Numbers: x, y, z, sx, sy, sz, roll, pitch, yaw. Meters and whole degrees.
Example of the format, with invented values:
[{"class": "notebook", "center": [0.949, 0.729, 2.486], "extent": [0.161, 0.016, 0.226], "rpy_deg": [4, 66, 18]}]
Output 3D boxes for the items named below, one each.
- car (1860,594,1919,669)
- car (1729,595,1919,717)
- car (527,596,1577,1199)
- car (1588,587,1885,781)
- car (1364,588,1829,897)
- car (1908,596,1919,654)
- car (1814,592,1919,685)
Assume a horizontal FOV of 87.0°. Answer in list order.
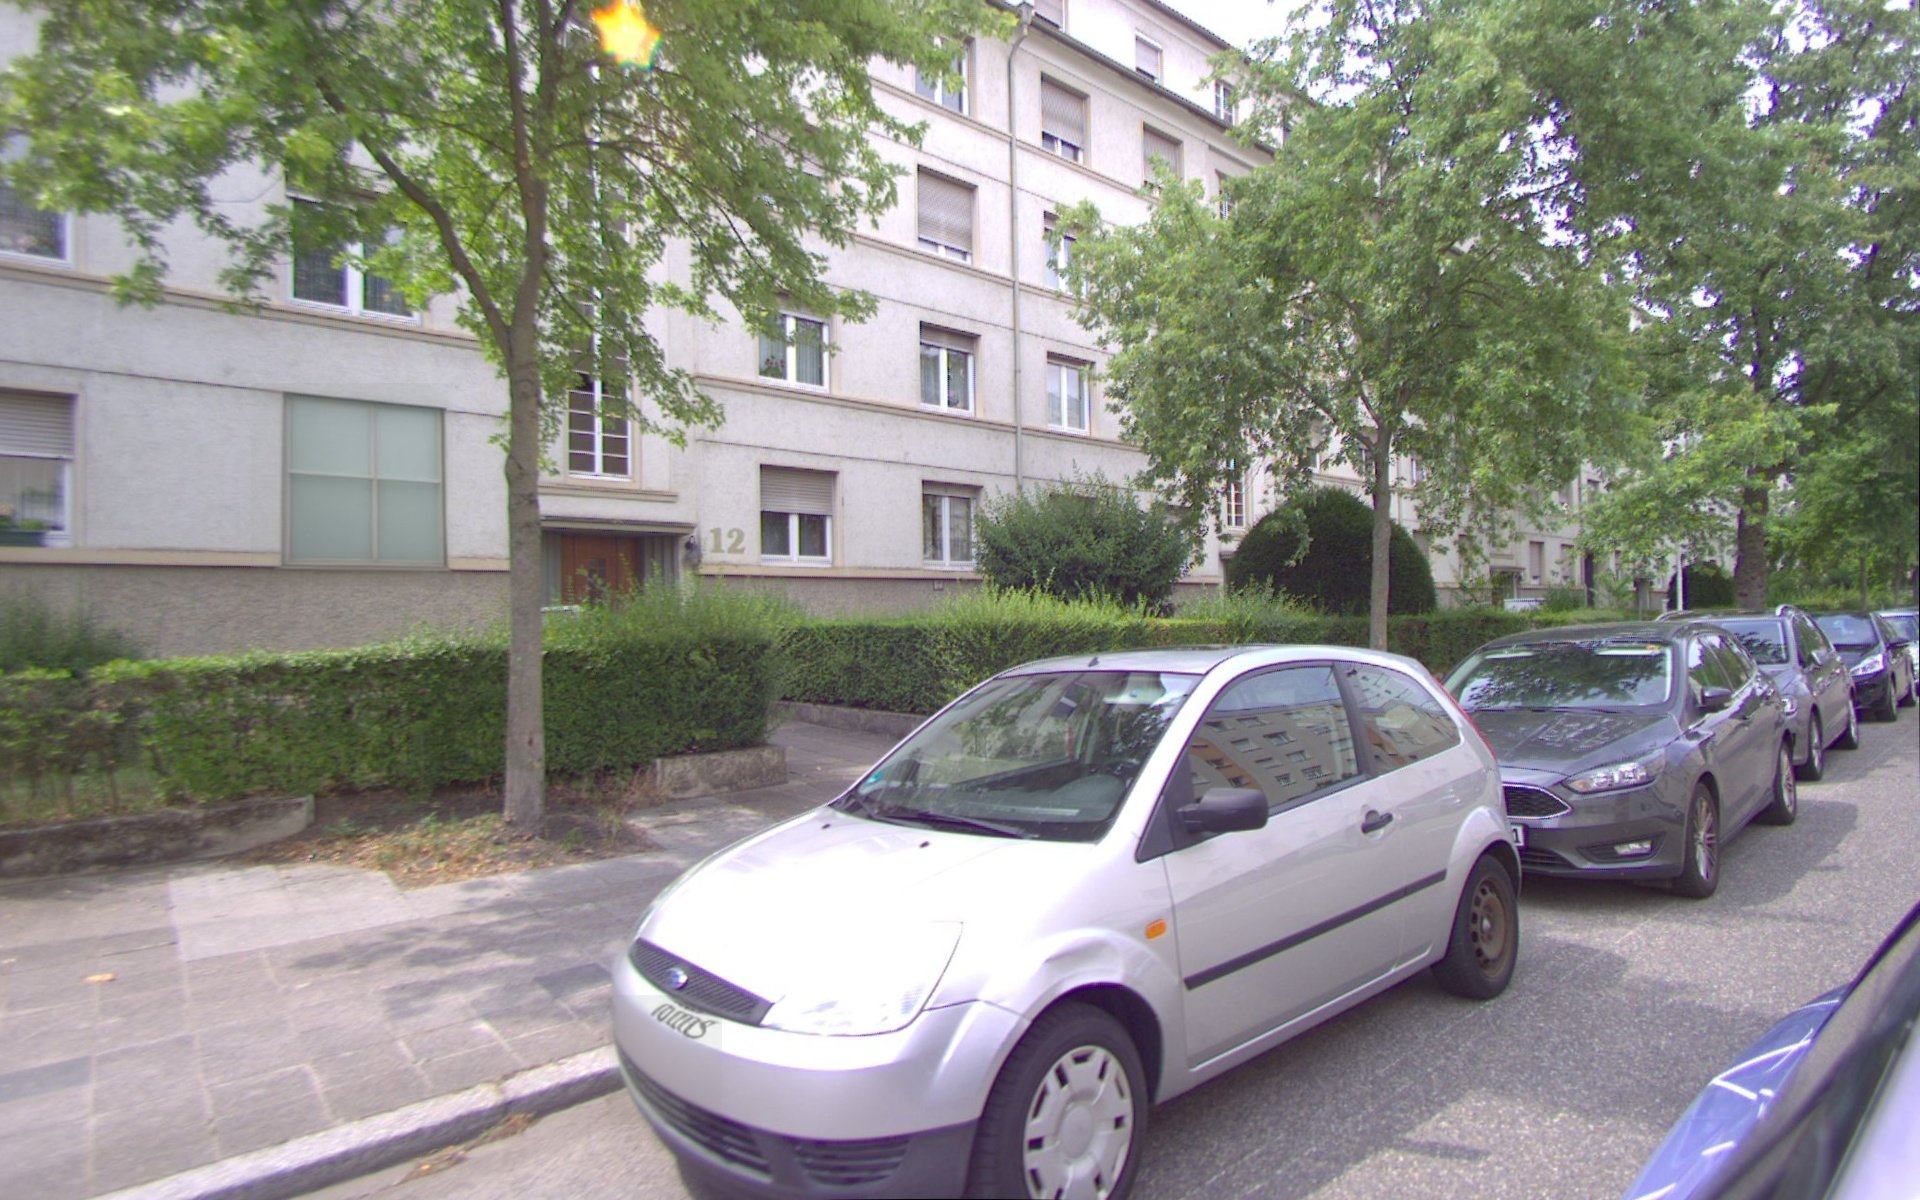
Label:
[{"class": "car", "center": [20.861, 0.602, 21.471], "extent": [4.530, 1.488, 1.783], "rpy_deg": [-1, -2, -38]}, {"class": "car", "center": [12.400, 0.711, 14.319], "extent": [3.822, 1.488, 1.661], "rpy_deg": [0, -2, -42]}, {"class": "car", "center": [0.671, 0.773, 3.862], "extent": [3.964, 1.475, 1.662], "rpy_deg": [0, -2, -40]}, {"class": "car", "center": [8.132, 0.731, 10.451], "extent": [4.213, 1.603, 1.660], "rpy_deg": [0, -4, -43]}, {"class": "car", "center": [4.580, 0.710, 6.970], "extent": [4.317, 1.488, 1.618], "rpy_deg": [0, -3, -43]}, {"class": "car", "center": [25.137, 0.553, 25.307], "extent": [3.785, 1.419, 1.671], "rpy_deg": [-1, -3, -42]}, {"class": "car", "center": [16.514, 0.643, 17.873], "extent": [3.661, 1.488, 1.661], "rpy_deg": [1, -2, -42]}]
